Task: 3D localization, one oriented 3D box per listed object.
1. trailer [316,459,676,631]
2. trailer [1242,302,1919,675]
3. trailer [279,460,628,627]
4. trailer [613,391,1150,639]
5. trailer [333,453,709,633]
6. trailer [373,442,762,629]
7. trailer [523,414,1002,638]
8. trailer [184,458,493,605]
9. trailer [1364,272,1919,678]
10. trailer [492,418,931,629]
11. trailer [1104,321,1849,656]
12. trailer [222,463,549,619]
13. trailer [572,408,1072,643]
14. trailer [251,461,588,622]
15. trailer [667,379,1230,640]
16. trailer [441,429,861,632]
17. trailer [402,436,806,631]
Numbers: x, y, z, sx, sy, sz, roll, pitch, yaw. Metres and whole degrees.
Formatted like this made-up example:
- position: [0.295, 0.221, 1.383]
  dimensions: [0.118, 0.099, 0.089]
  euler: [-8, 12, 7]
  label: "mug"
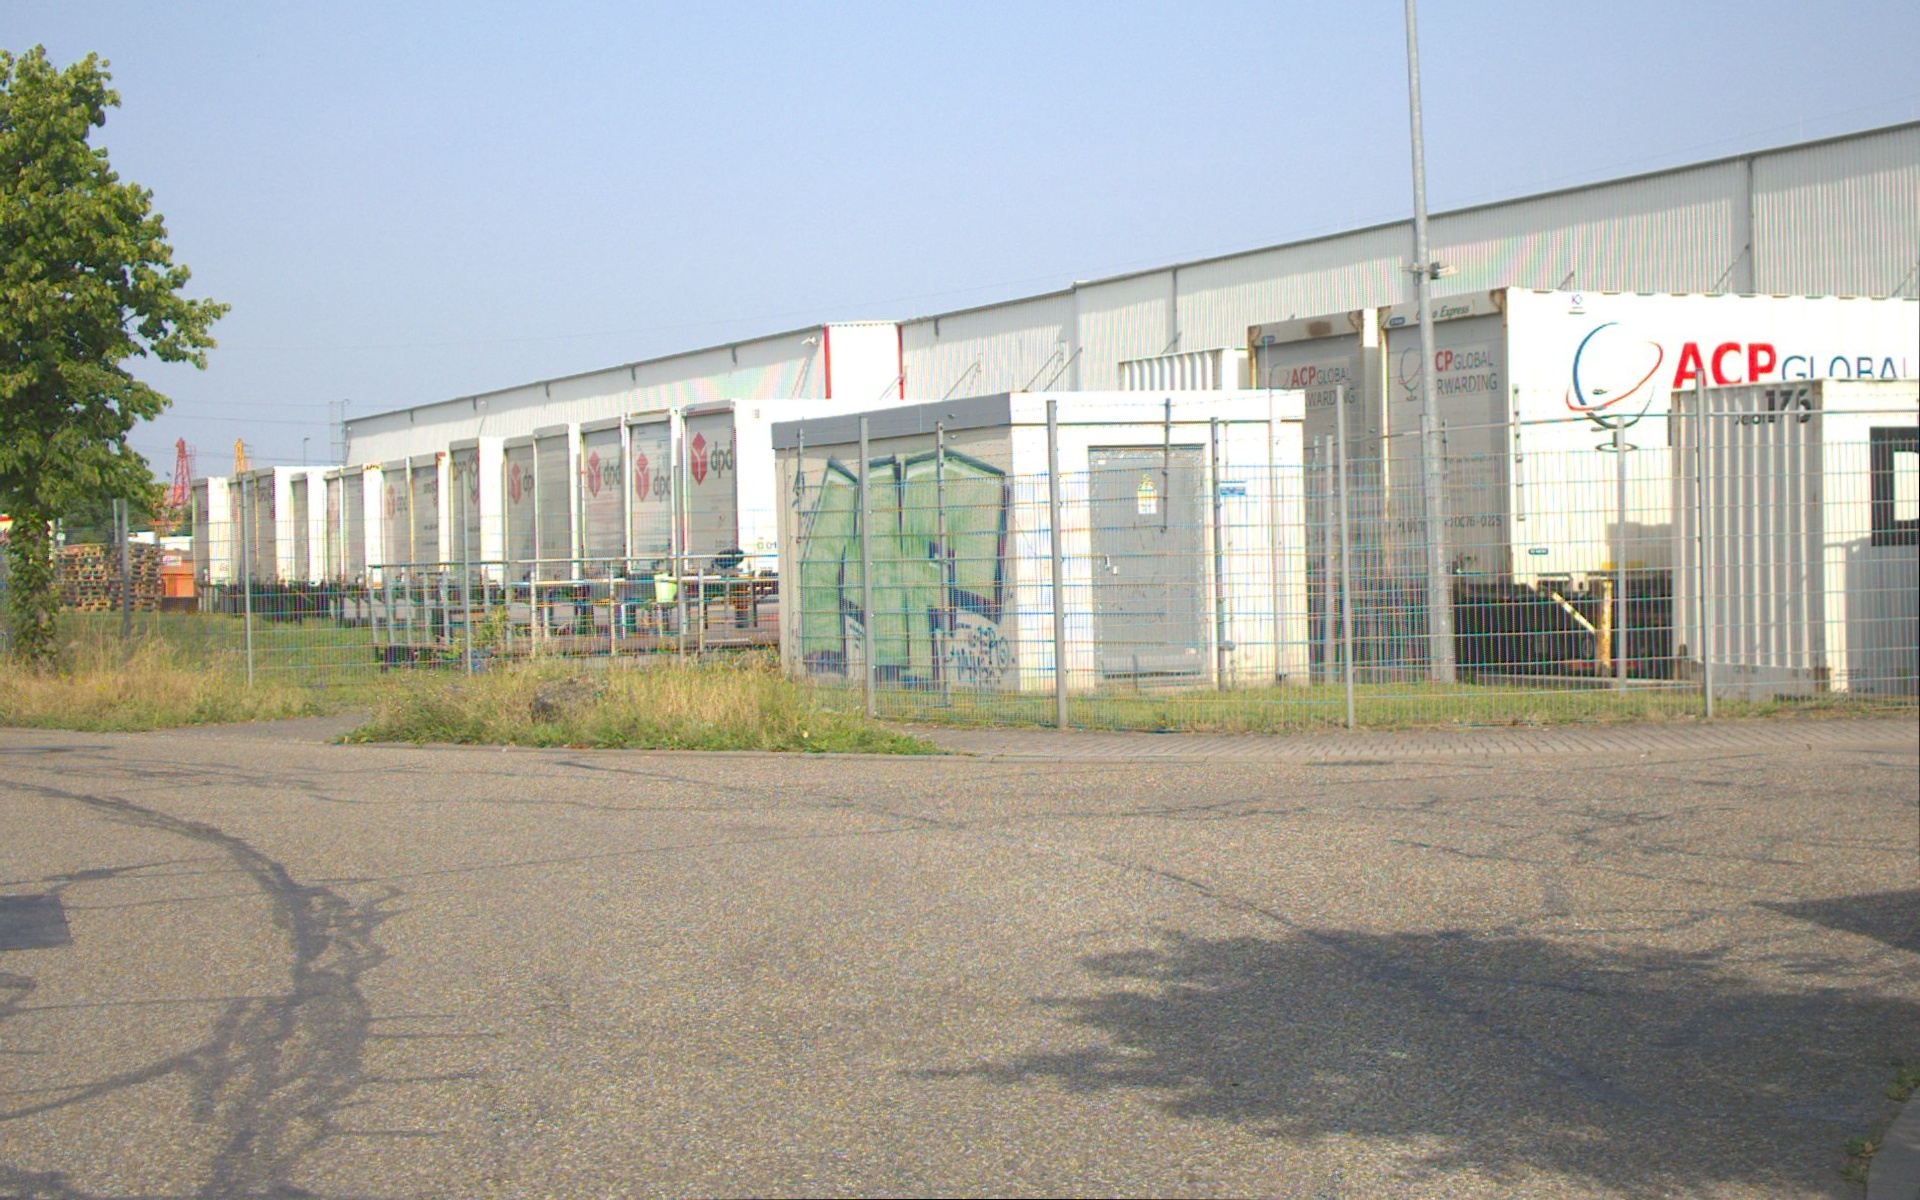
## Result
- position: [-11.002, -1.271, 81.689]
  dimensions: [7.960, 3.880, 2.776]
  euler: [1, 1, -24]
  label: "trailer"
- position: [7.669, -1.306, 38.699]
  dimensions: [8.534, 3.880, 2.776]
  euler: [-2, 1, -22]
  label: "trailer"
- position: [-12.433, -1.360, 84.494]
  dimensions: [7.960, 3.880, 2.776]
  euler: [1, 1, -24]
  label: "trailer"
- position: [-1.281, -1.363, 57.756]
  dimensions: [8.534, 3.880, 2.776]
  euler: [1, 1, -24]
  label: "trailer"
- position: [-9.987, -1.270, 78.380]
  dimensions: [7.960, 3.880, 2.776]
  euler: [1, 1, -24]
  label: "trailer"
- position: [-8.598, -1.377, 75.476]
  dimensions: [7.960, 3.880, 2.776]
  euler: [1, 1, -24]
  label: "trailer"
- position: [-3.620, -1.312, 63.466]
  dimensions: [8.305, 3.880, 2.776]
  euler: [1, 1, -24]
  label: "trailer"
- position: [-17.294, -1.877, 95.727]
  dimensions: [7.960, 3.880, 2.743]
  euler: [1, 1, -24]
  label: "trailer"
- position: [8.712, -1.246, 35.880]
  dimensions: [8.534, 3.881, 2.776]
  euler: [-1, -2, -22]
  label: "trailer"
- position: [-4.835, -1.442, 67.257]
  dimensions: [8.031, 3.880, 2.776]
  euler: [1, 1, -24]
  label: "trailer"
- position: [6.285, -1.290, 41.505]
  dimensions: [8.730, 3.748, 2.791]
  euler: [-1, 0, -24]
  label: "trailer"
- position: [-15.056, -1.528, 90.208]
  dimensions: [7.960, 3.880, 2.776]
  euler: [1, 1, -24]
  label: "trailer"
- position: [-2.399, -1.252, 60.656]
  dimensions: [8.305, 3.880, 2.776]
  euler: [1, 1, -24]
  label: "trailer"
- position: [-13.740, -1.466, 87.497]
  dimensions: [7.960, 3.880, 2.776]
  euler: [1, 1, -24]
  label: "trailer"
- position: [-0.147, -1.375, 54.924]
  dimensions: [8.534, 3.880, 2.776]
  euler: [1, 1, -24]
  label: "trailer"
- position: [-6.258, -1.360, 69.892]
  dimensions: [7.960, 3.880, 2.776]
  euler: [1, 1, -24]
  label: "trailer"
- position: [-7.503, -1.359, 72.643]
  dimensions: [7.960, 3.880, 2.776]
  euler: [1, 1, -24]
  label: "trailer"
